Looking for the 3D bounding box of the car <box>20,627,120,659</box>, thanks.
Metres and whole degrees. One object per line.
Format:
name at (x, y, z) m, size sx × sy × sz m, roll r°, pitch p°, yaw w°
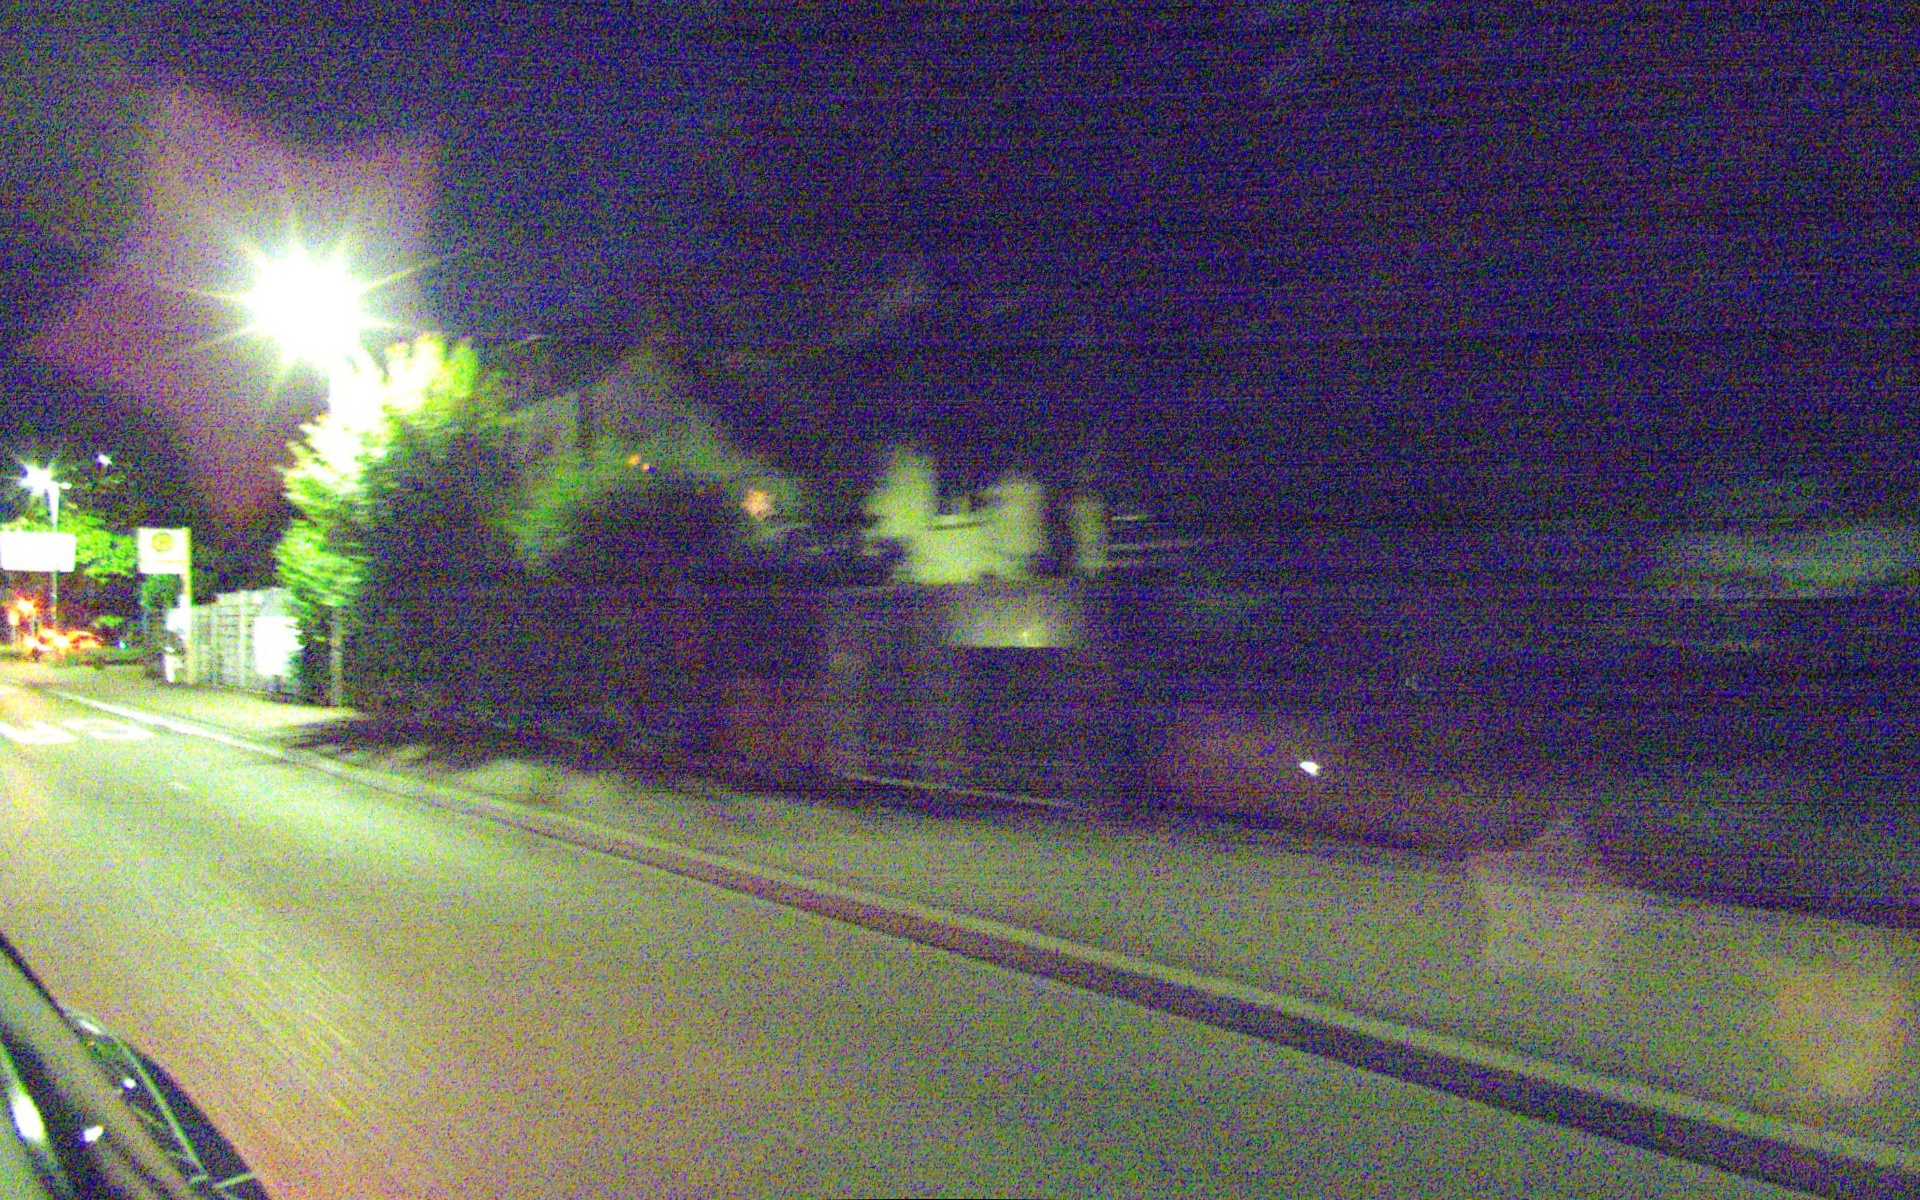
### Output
car at (-42.414, 2.036, 48.361) m, size 1.703 × 1.440 × 4.300 m, roll 1°, pitch -1°, yaw -12°
